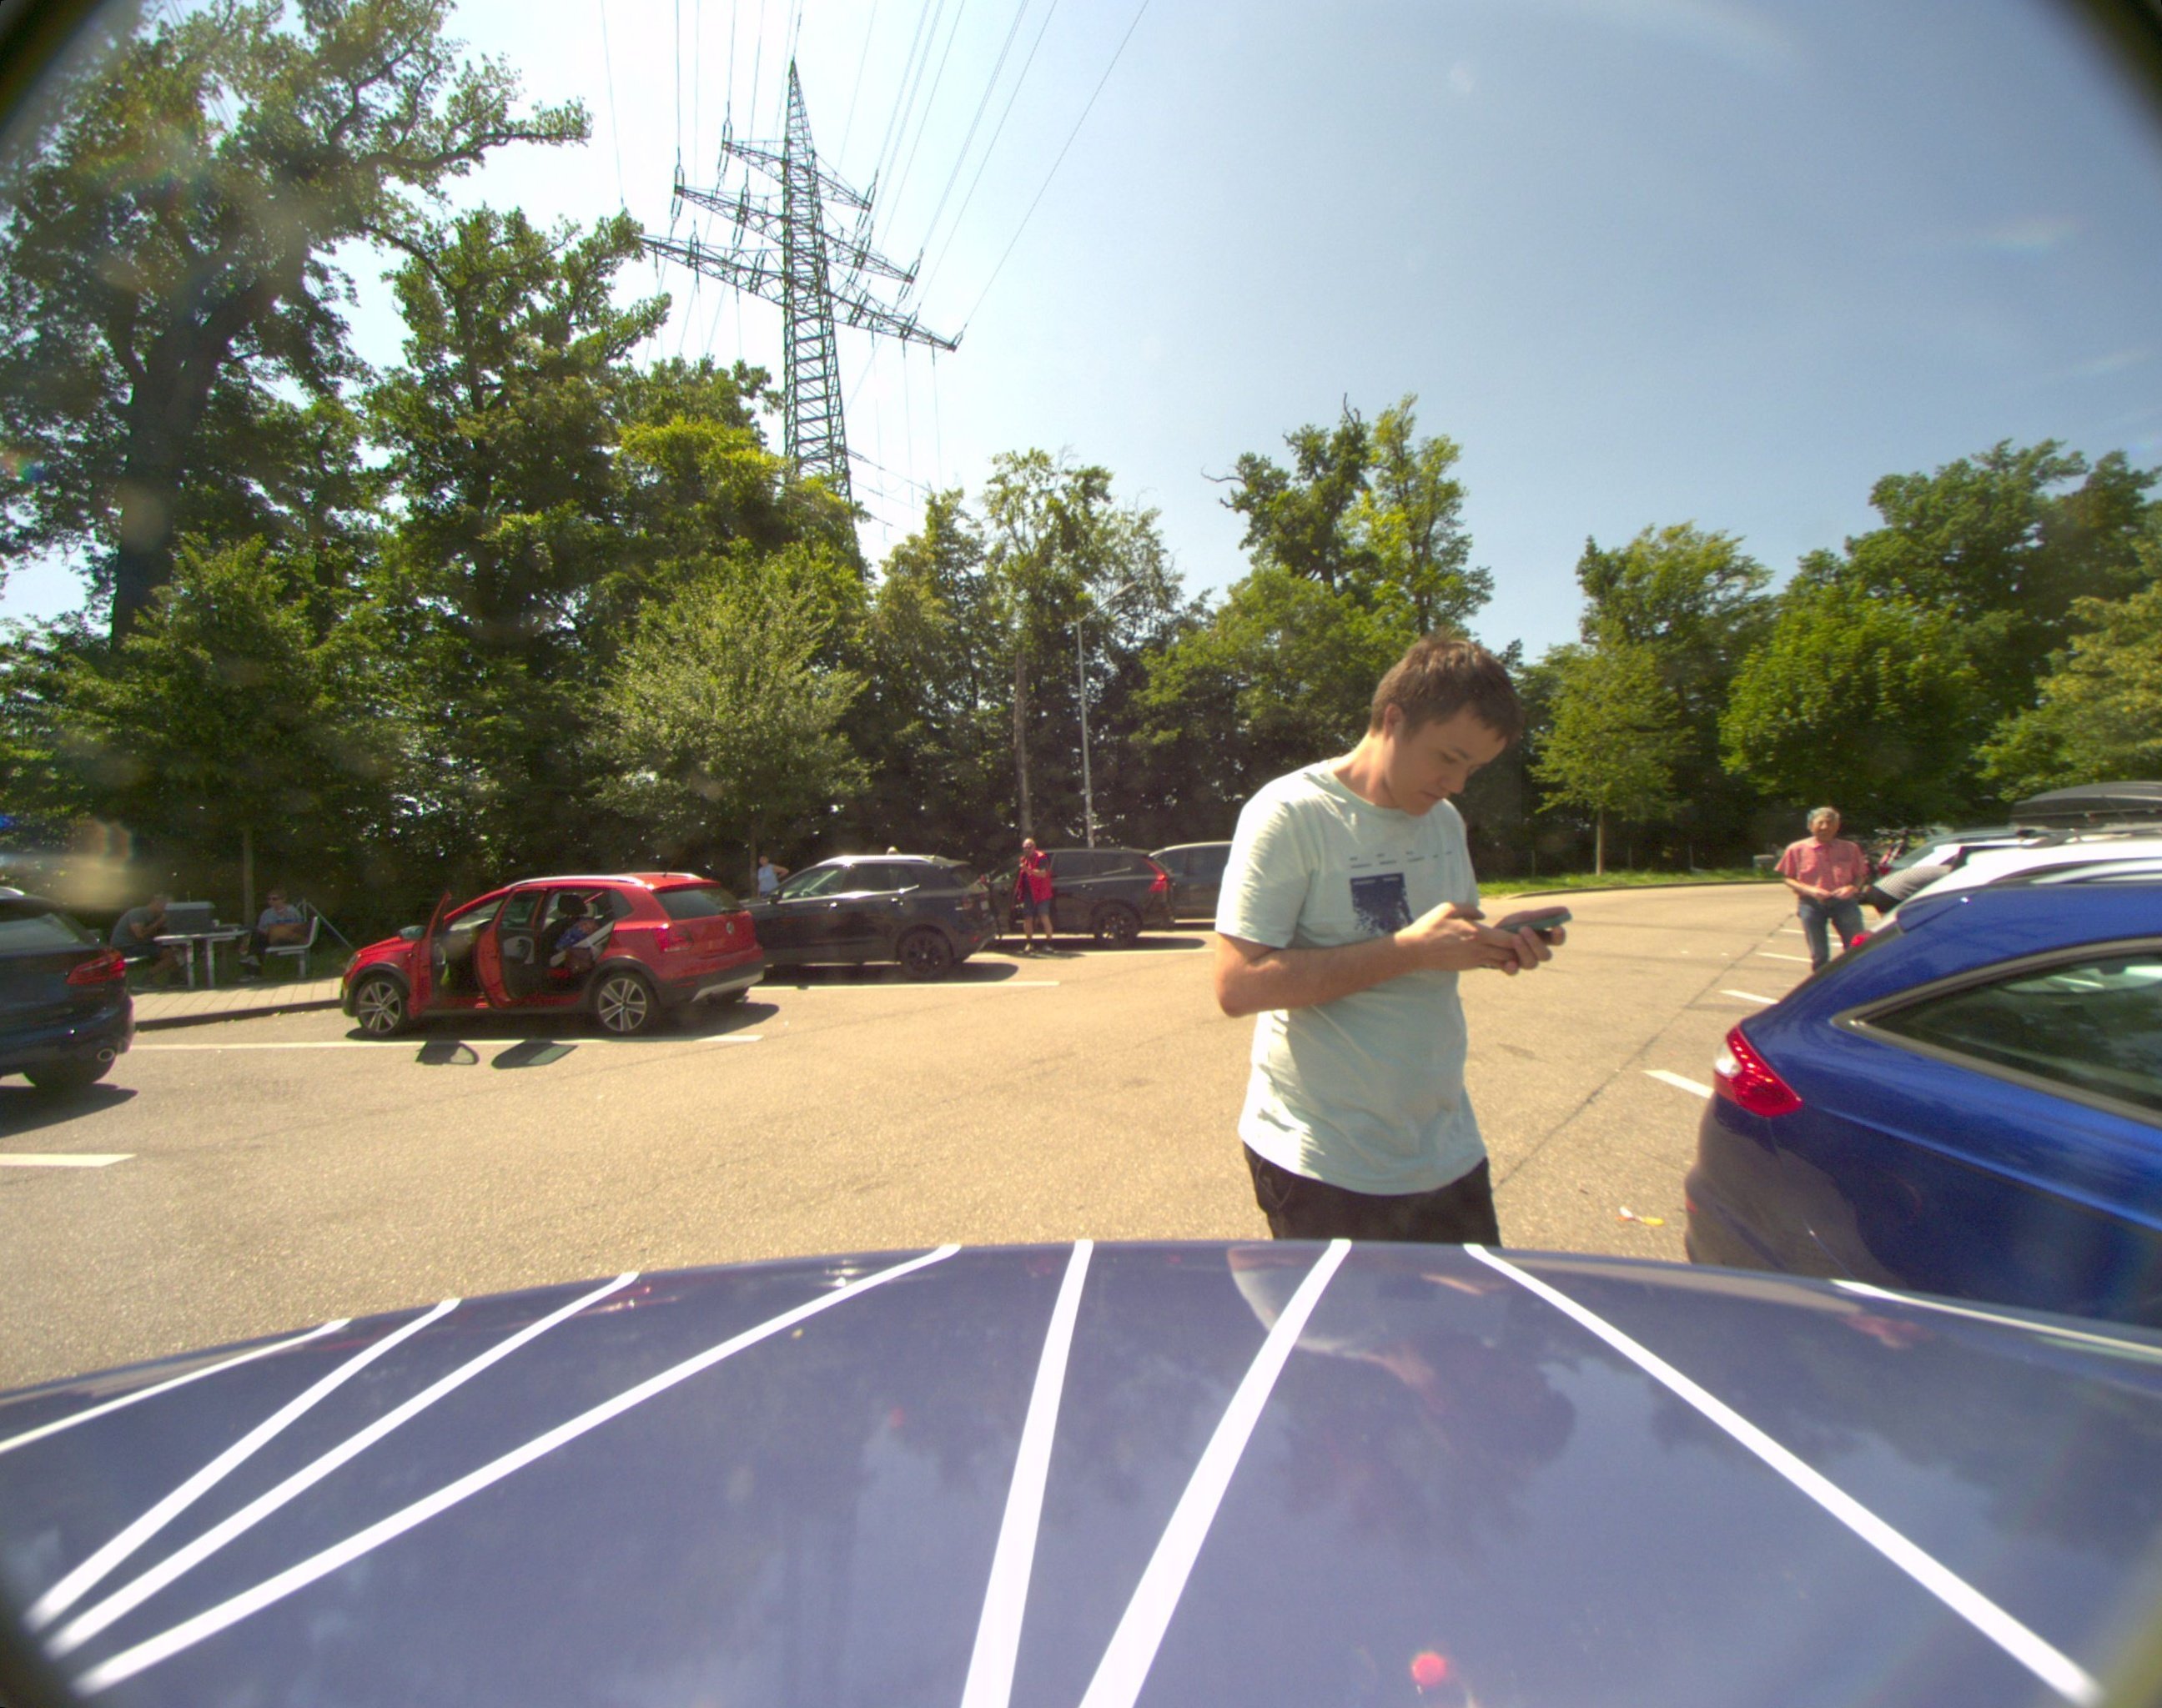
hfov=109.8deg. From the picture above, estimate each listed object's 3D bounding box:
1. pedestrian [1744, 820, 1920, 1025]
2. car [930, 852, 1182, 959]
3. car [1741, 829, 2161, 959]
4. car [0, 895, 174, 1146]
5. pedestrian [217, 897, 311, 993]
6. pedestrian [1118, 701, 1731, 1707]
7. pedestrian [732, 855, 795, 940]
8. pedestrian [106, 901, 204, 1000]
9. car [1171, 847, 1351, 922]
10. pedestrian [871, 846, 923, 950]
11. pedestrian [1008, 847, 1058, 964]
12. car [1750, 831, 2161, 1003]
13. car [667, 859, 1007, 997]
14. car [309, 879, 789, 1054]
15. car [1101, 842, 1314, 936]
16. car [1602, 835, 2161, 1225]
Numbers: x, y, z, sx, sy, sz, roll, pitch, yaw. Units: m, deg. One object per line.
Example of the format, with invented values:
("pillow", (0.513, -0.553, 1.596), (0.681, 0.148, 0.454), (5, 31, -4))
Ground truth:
("pedestrian", (6.266, 0.546, 6.381), (0.672, 1.592, 0.759), (-2, 0, 1))
("car", (-0.331, 0.838, 12.947), (3.964, 1.582, 1.781), (-2, 0, 8))
("car", (12.362, 0.475, 10.933), (1.779, 1.456, 4.470), (-2, -1, 0))
("car", (-8.921, 1.156, 4.989), (4.011, 1.558, 1.846), (-2, 0, 6))
("pedestrian", (-11.829, 1.294, 11.009), (0.828, 1.287, 0.672), (-2, 0, 24))
("pedestrian", (0.443, 0.677, 1.223), (0.687, 1.699, 0.578), (-2, 0, 1))
("pedestrian", (-6.128, 0.829, 14.691), (0.714, 1.584, 0.810), (-2, 0, 15))
("pedestrian", (-12.739, 1.303, 10.462), (0.652, 1.262, 0.672), (-2, 0, 24))
("car", (4.167, 0.711, 18.142), (3.964, 1.577, 1.781), (-2, 0, 7))
("pedestrian", (-3.407, 0.794, 14.043), (0.682, 1.854, 0.713), (-2, 0, -30))
("pedestrian", (-0.738, 0.781, 11.762), (0.660, 1.745, 0.636), (-2, 0, 1))
("car", (10.060, 0.531, 8.148), (1.779, 1.456, 4.470), (-2, -1, 0))
("car", (-3.149, 0.937, 10.368), (3.966, 1.582, 1.841), (-2, 0, 3))
("car", (-5.196, 1.071, 7.708), (3.704, 1.448, 1.781), (-2, 0, 7))
("car", (2.505, 0.695, 15.439), (3.964, 1.678, 1.781), (-2, 0, 7))
("car", (4.944, 0.654, 3.628), (1.779, 1.456, 4.470), (-2, -1, 0))
